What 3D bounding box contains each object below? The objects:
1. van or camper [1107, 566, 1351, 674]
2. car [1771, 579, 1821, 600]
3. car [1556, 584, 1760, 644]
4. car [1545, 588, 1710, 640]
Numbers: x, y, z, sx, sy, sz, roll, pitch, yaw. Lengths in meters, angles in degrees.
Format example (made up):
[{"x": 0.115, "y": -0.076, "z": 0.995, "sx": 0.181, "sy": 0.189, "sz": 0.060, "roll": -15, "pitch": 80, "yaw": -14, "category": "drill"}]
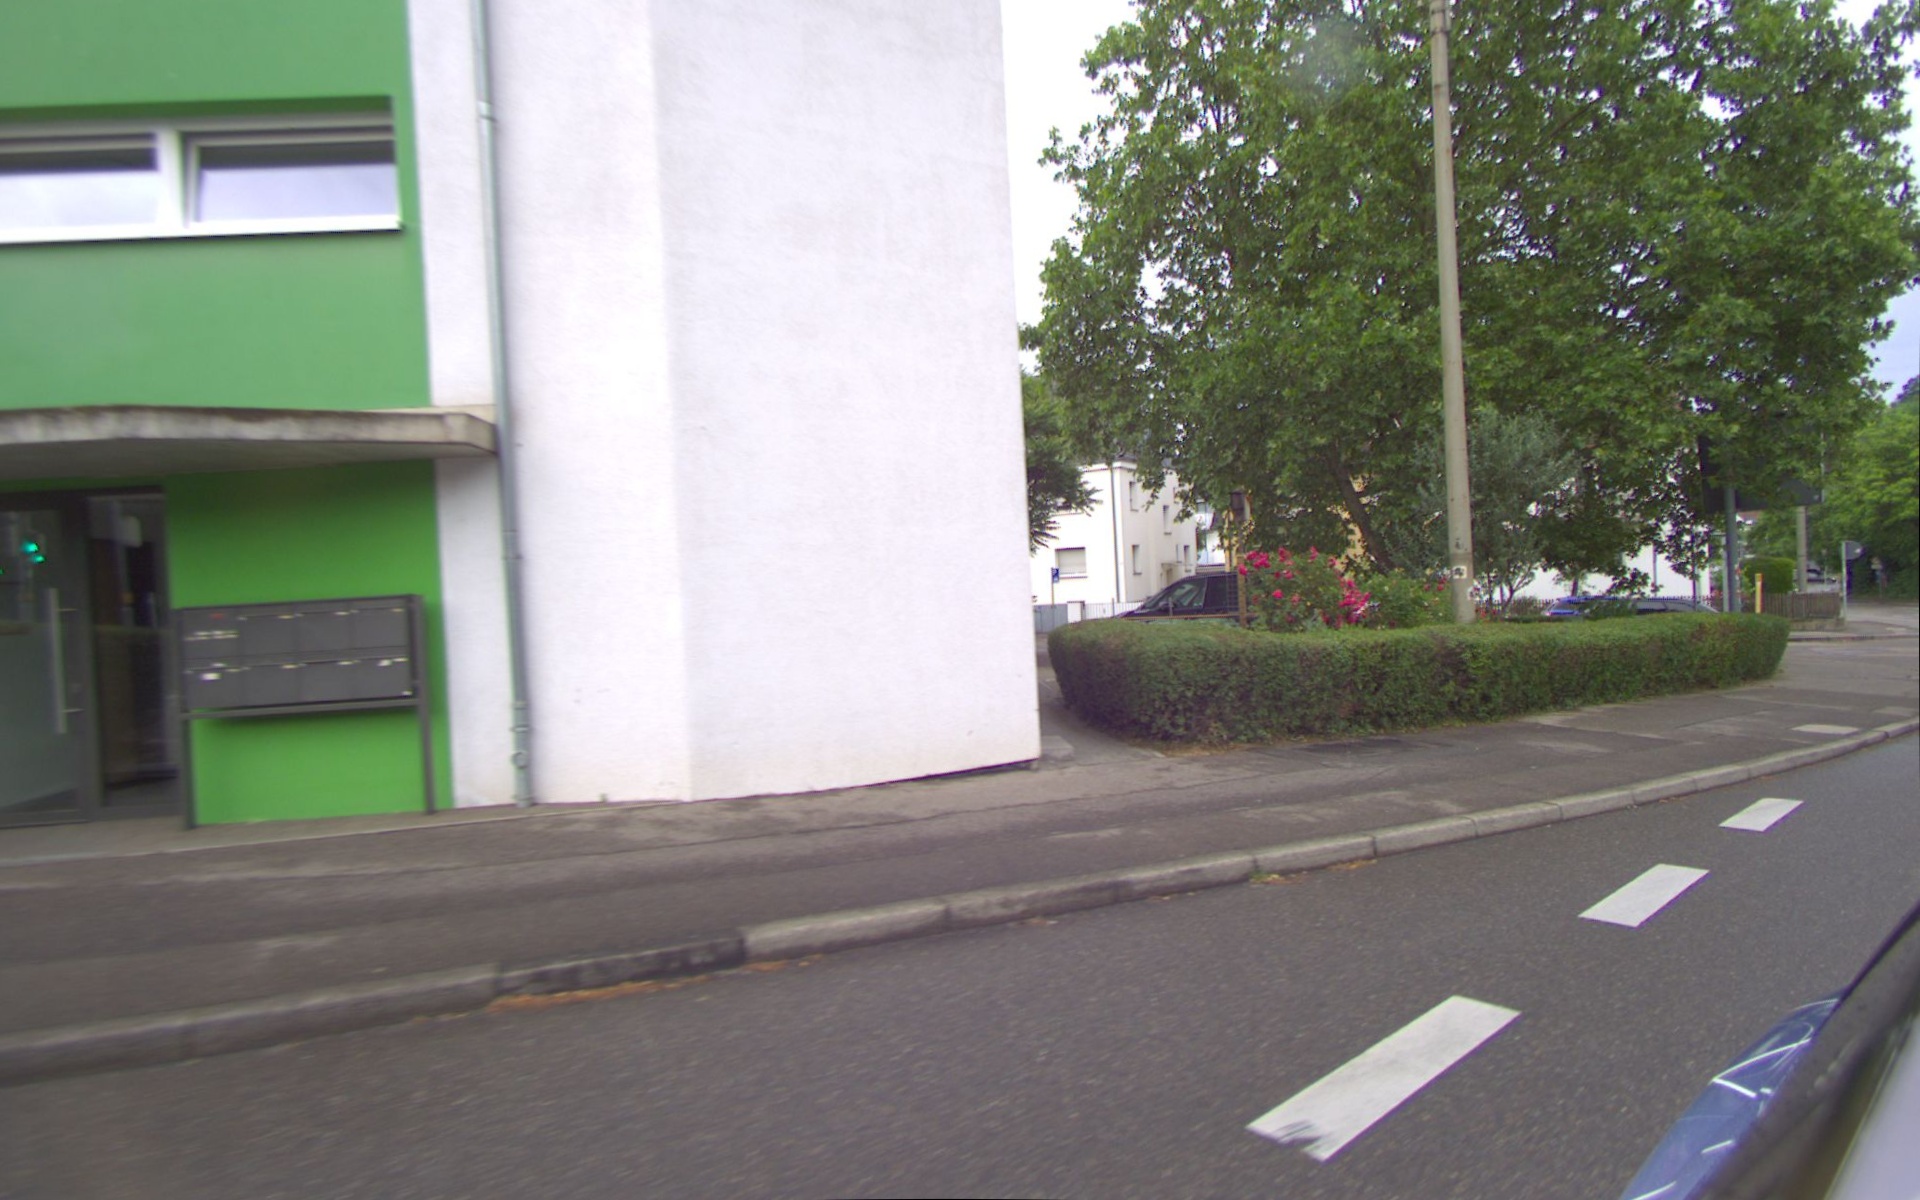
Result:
[{"x": 5.285, "y": 0.400, "z": 19.954, "sx": 4.289, "sy": 1.928, "sz": 1.980, "roll": -1, "pitch": -1, "yaw": 29, "category": "van or camper"}, {"x": 65.680, "y": -0.796, "z": 79.617, "sx": 1.824, "sy": 1.577, "sz": 5.520, "roll": -1, "pitch": 0, "yaw": 27, "category": "car"}, {"x": 18.922, "y": 0.405, "z": 27.723, "sx": 4.353, "sy": 1.533, "sz": 1.980, "roll": -1, "pitch": -1, "yaw": 29, "category": "car"}, {"x": 20.059, "y": 0.396, "z": 30.625, "sx": 3.962, "sy": 1.482, "sz": 1.843, "roll": -1, "pitch": 0, "yaw": 28, "category": "car"}]
